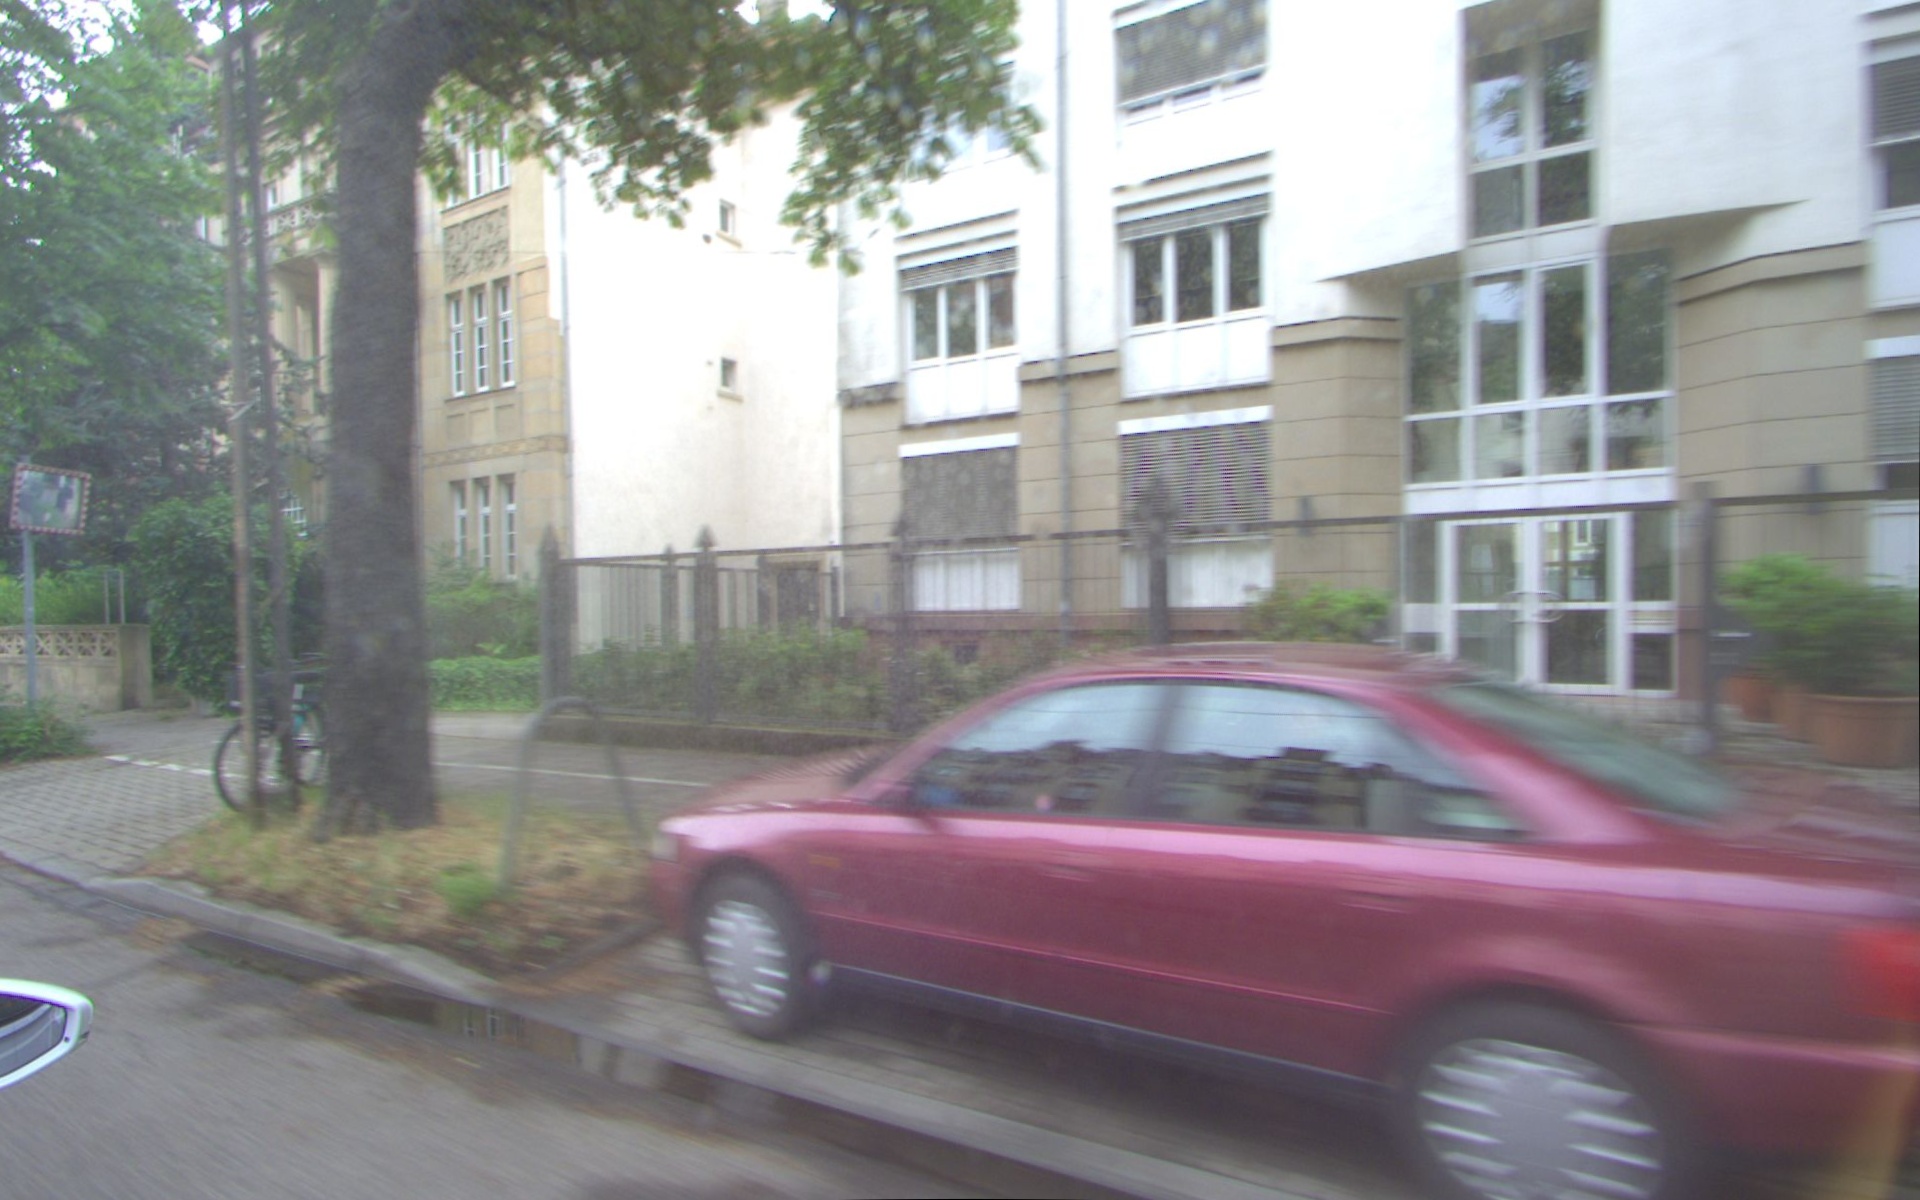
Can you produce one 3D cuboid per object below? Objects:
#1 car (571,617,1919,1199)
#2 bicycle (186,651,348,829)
[{"bbox_3d":[0.634,0.815,3.715,4.164,1.418,1.599,-1,1,30],"label":"car"},{"bbox_3d":[-5.436,1.026,7.965,0.425,1.213,1.902,-1,-2,-14],"label":"bicycle"}]
